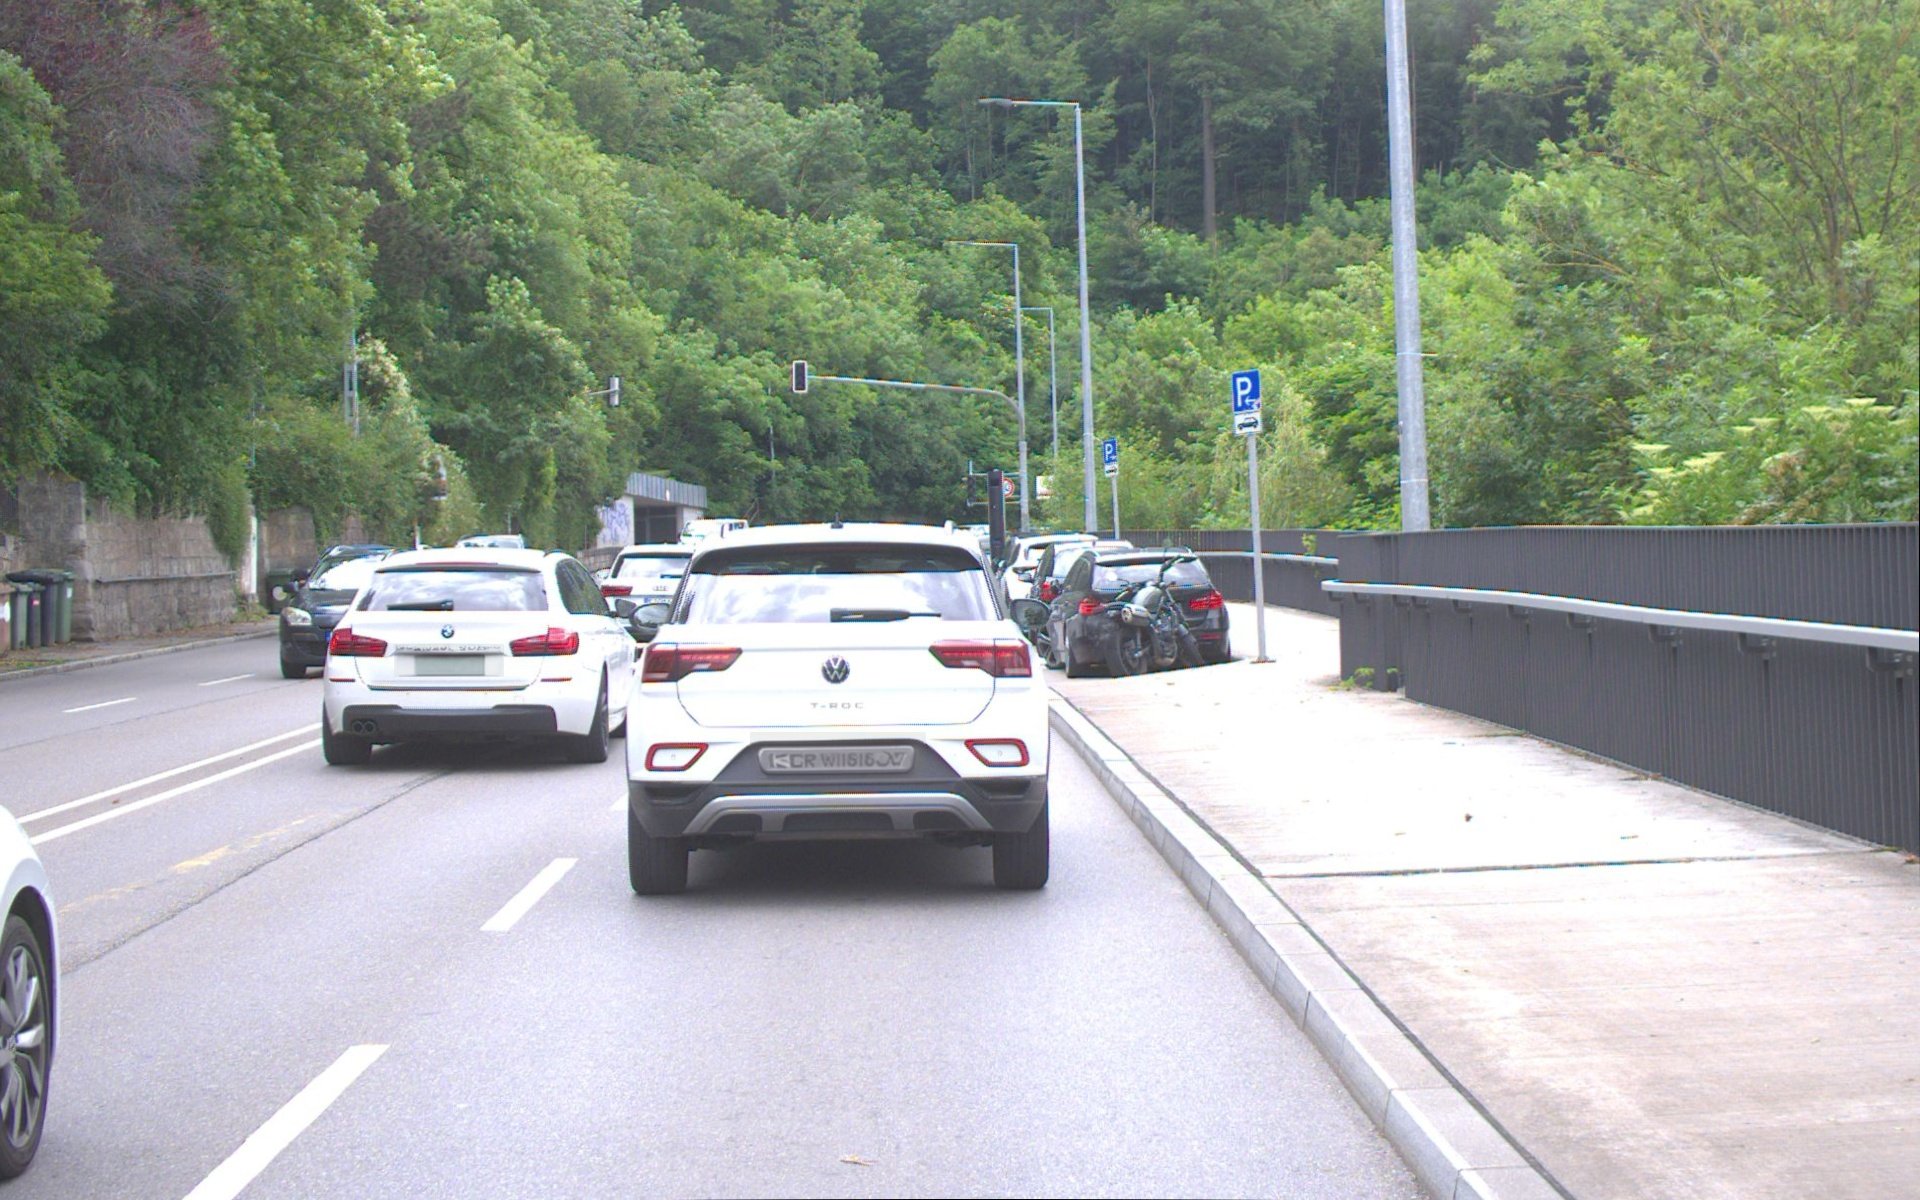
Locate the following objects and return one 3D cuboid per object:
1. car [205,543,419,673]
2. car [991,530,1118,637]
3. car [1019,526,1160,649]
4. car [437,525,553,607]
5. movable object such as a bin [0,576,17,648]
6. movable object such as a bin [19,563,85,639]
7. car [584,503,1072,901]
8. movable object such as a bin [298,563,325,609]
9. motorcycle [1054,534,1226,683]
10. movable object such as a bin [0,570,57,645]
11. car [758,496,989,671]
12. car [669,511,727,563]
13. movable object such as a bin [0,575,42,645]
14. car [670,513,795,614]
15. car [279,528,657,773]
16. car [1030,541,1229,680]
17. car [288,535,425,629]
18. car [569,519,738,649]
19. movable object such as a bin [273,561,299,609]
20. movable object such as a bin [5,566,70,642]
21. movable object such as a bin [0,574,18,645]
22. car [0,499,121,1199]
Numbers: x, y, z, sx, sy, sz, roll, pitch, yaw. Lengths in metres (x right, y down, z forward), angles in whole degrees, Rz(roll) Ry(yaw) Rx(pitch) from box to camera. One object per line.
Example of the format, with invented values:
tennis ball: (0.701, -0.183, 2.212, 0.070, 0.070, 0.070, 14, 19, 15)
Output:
car: (-7.485, 0.059, 40.069, 1.856, 1.441, 4.296, 0, 1, -2)
car: (1.443, -0.282, 54.073, 1.726, 1.563, 4.625, -2, 1, -1)
car: (1.784, -0.208, 48.630, 1.659, 1.566, 4.256, -3, 1, -1)
car: (-9.857, -0.727, 73.146, 1.815, 1.691, 4.470, 0, 1, 1)
movable object such as a bin: (-13.039, 0.160, 46.374, 0.516, 0.962, 0.474, -1, 1, -4)
movable object such as a bin: (-13.165, 0.006, 49.859, 0.787, 1.067, 0.709, -1, 2, -4)
car: (-0.462, 0.398, 15.633, 1.814, 1.534, 4.008, -2, 0, 3)
movable object such as a bin: (-13.217, -0.291, 70.056, 0.479, 0.933, 0.366, 1, 1, -5)
motorcycle: (1.857, 0.065, 35.029, 0.771, 1.462, 2.501, 0, 1, 28)
movable object such as a bin: (-13.236, 0.107, 48.386, 0.898, 1.030, 0.621, -1, 1, -4)
car: (-0.915, -0.199, 38.896, 1.994, 1.837, 4.149, 1, 1, 7)
car: (-10.386, -2.518, 136.517, 1.921, 1.998, 5.356, 0, 1, -1)
movable object such as a bin: (-13.278, 0.139, 47.735, 0.916, 0.942, 0.594, -1, 1, -4)
car: (-4.022, -0.662, 61.244, 1.993, 1.735, 4.000, 0, 1, 0)
car: (-3.354, 0.275, 24.334, 1.993, 1.552, 4.681, 1, 1, 0)
car: (1.865, 0.079, 39.129, 1.823, 1.396, 4.320, -3, 1, -2)
car: (-9.710, -0.319, 55.486, 1.583, 1.456, 3.523, 0, 1, 0)
car: (-3.980, -0.210, 45.211, 1.862, 1.589, 4.000, 1, 0, 0)
movable object such as a bin: (-13.723, -0.311, 70.022, 0.477, 0.968, 0.368, 1, 1, -5)
movable object such as a bin: (-13.178, 0.051, 49.121, 0.772, 1.058, 0.718, -1, 1, -4)
movable object such as a bin: (-13.312, 0.134, 47.111, 0.673, 0.962, 0.543, -1, 1, -4)
car: (-2.971, 0.574, 6.577, 1.720, 1.549, 4.276, 0, 1, -1)
